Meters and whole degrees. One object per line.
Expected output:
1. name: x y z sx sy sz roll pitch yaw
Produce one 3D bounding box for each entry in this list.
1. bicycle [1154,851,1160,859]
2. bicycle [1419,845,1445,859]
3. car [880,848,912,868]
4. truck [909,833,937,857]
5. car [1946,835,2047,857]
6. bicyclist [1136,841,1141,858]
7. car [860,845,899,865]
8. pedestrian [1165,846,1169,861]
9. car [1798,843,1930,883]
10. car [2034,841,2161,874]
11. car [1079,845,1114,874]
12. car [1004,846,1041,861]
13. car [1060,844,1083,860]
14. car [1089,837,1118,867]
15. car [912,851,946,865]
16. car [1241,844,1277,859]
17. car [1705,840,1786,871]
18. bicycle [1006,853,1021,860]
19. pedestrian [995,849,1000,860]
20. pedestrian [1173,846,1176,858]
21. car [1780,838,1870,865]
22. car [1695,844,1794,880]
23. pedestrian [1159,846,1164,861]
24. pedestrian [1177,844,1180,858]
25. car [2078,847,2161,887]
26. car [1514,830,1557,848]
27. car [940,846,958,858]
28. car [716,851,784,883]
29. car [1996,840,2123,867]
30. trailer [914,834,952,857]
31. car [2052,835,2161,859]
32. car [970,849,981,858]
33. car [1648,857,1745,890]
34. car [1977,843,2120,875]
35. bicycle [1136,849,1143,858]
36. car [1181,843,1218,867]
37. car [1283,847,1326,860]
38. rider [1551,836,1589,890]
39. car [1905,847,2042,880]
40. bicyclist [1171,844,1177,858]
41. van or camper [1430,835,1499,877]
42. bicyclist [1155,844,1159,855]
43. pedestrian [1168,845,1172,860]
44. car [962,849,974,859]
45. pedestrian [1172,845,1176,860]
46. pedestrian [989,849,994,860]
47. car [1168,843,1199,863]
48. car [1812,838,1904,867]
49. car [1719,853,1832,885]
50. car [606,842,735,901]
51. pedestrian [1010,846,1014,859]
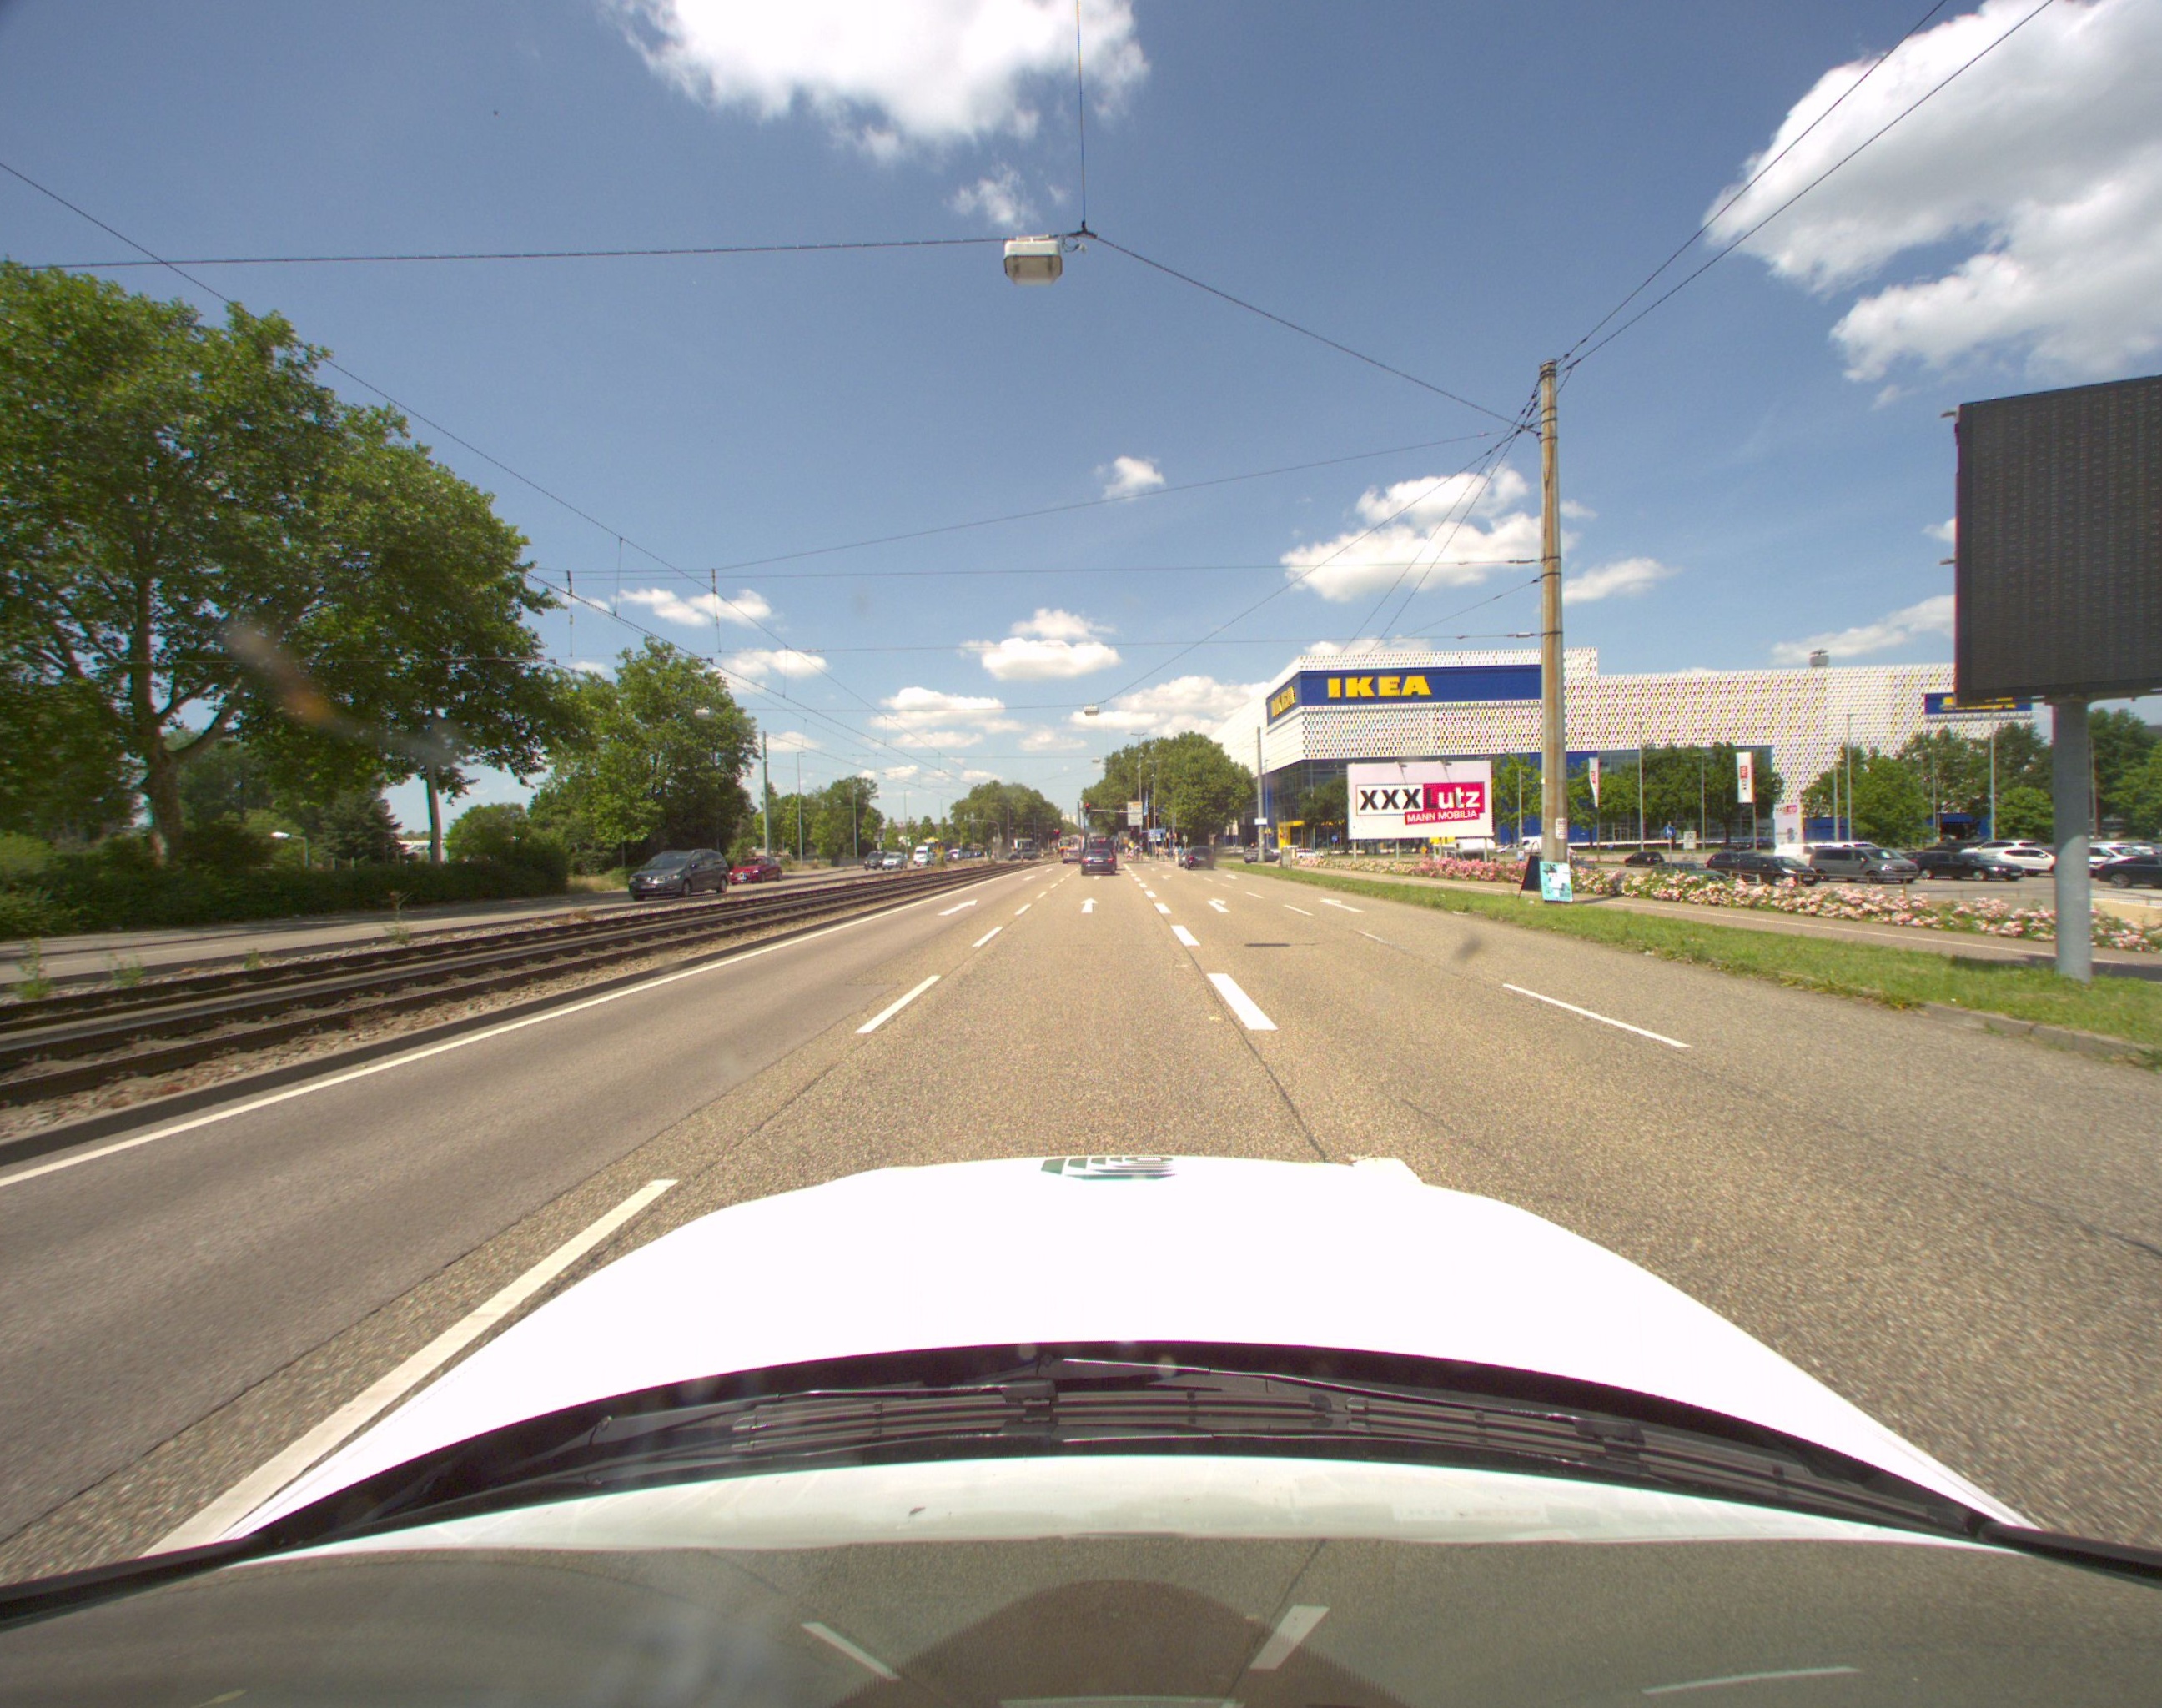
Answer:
1. bicycle: 8.569 0.096 91.796 0.547 0.877 1.699 0 0 4
2. bicycle: 37.961 -0.231 88.115 2.410 1.481 0.990 0 0 6
3. car: -15.761 0.303 69.594 1.680 1.583 4.058 -4 1 0
4. truck: -23.804 -1.314 123.101 2.757 3.569 6.442 0 0 1
5. car: 70.279 -0.614 62.656 1.989 1.610 4.994 0 0 -4
6. bicyclist: 6.411 -0.485 90.420 0.526 1.789 1.088 -1 0 2
7. car: -19.920 0.080 80.661 1.983 1.830 4.979 -3 1 7
8. pedestrian: 9.552 -0.072 90.086 0.443 1.635 0.430 0 0 4
9. car: 42.316 0.435 44.228 1.986 2.013 5.537 0 0 2
10. car: 55.021 0.153 43.741 1.986 1.650 5.003 0 0 2
11. car: 0.878 0.281 44.556 1.786 1.455 4.002 -2 1 2
12. car: -7.632 -0.027 105.694 4.409 1.918 1.988 1 1 -19
13. car: -0.910 -0.201 77.798 1.986 1.486 4.002 1 1 2
14. car: 1.493 -0.161 54.701 1.830 1.950 4.002 -1 1 1
15. car: -17.756 0.467 95.459 1.805 1.415 3.908 -3 0 28
16. car: 18.545 -0.227 84.559 1.974 1.486 4.171 1 1 39
17. car: 48.261 0.092 59.297 1.986 2.134 5.003 0 0 2
18. bicycle: -9.450 0.344 113.732 2.055 0.925 0.751 0 0 -9
19. pedestrian: -11.888 0.026 115.526 0.683 1.564 0.572 -1 0 -2
20. pedestrian: 10.338 -0.230 90.002 0.371 1.303 0.365 0 0 4
21. car: 52.827 -0.185 57.971 1.986 1.852 5.003 0 0 2
22. car: 40.254 0.462 49.606 1.986 2.013 5.003 -2 0 2
23. pedestrian: 8.937 -0.069 90.198 0.551 1.635 0.433 0 0 4
24. pedestrian: 10.799 -0.325 90.007 0.319 1.635 0.377 0 0 4
25. car: 45.510 0.536 33.918 1.986 1.610 5.003 0 0 2
26. car: 61.313 -1.996 109.875 4.749 2.309 1.997 0 0 -4
27. car: -19.792 -0.310 122.034 1.815 1.670 4.463 0 1 2
28. car: -18.993 0.708 46.994 1.987 1.670 4.468 -3 1 0
29. car: 60.327 -0.054 50.360 1.986 1.610 5.003 0 0 2
30. trailer: -23.601 -1.362 130.957 2.757 3.518 15.883 0 0 1
31. car: 72.841 -0.518 57.807 1.986 1.610 5.003 0 0 2
32. car: -21.904 -0.080 169.126 1.811 1.883 4.001 0 0 1
33. car: 32.943 1.010 43.772 1.986 1.496 4.305 -4 0 2
34. car: 52.249 0.249 44.169 1.986 1.610 5.003 0 0 2
35. bicycle: 6.500 -0.105 90.669 0.685 0.993 2.753 0 0 2
36. car: 7.934 0.029 54.803 1.986 1.486 4.002 1 1 2
37. car: 25.857 -0.074 94.056 4.379 1.486 1.992 1 1 -12
38. rider: 13.314 0.241 22.162 0.667 1.457 0.618 0 0 1
39. car: 47.418 0.457 43.459 1.986 1.610 5.003 0 0 2
40. bicyclist: 11.687 -0.343 102.370 0.525 1.764 0.831 -1 0 15
41. van or camper: 29.129 0.134 62.153 2.495 3.020 7.234 0 0 5
42. bicyclist: 8.614 -0.477 92.221 0.468 1.193 0.792 -1 0 4
43. pedestrian: 10.050 -0.159 92.186 0.379 1.635 0.377 0 0 4
44. car: -22.230 -0.044 160.171 1.811 1.883 4.001 0 0 1
45. pedestrian: 10.516 -0.179 92.034 0.337 1.635 0.377 0 0 4
46. pedestrian: -12.568 0.086 114.427 0.683 1.443 0.572 -1 0 -2
47. car: 7.886 -0.094 62.757 1.986 1.486 4.168 1 1 2
48. car: 55.725 -0.113 58.571 1.986 2.007 5.003 0 0 2
49. car: 37.526 0.766 44.221 1.986 1.550 5.003 0 0 2
50. car: -14.614 0.559 29.378 1.987 1.830 4.969 -3 1 0
51. pedestrian: -10.692 -0.215 126.110 0.683 2.013 0.572 -1 0 -3
